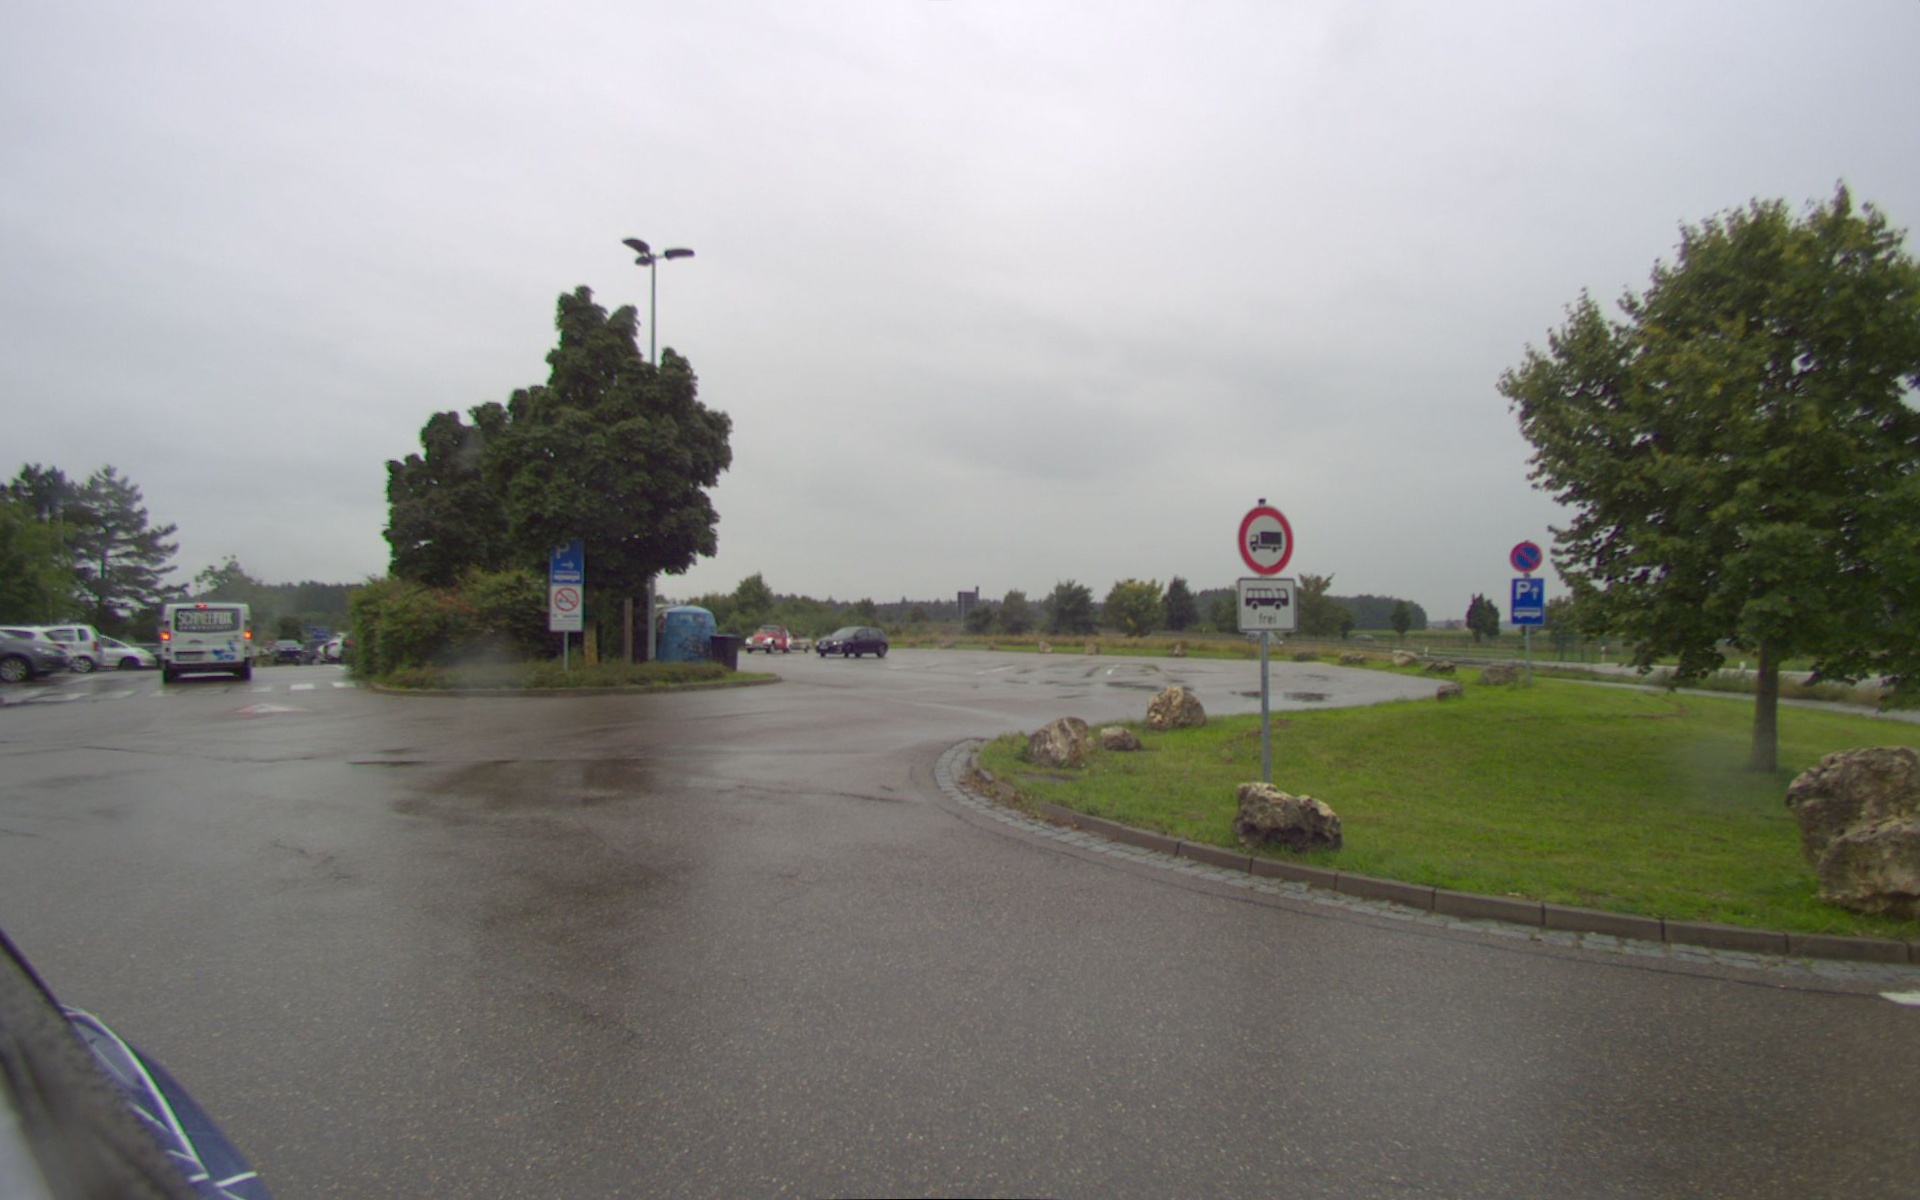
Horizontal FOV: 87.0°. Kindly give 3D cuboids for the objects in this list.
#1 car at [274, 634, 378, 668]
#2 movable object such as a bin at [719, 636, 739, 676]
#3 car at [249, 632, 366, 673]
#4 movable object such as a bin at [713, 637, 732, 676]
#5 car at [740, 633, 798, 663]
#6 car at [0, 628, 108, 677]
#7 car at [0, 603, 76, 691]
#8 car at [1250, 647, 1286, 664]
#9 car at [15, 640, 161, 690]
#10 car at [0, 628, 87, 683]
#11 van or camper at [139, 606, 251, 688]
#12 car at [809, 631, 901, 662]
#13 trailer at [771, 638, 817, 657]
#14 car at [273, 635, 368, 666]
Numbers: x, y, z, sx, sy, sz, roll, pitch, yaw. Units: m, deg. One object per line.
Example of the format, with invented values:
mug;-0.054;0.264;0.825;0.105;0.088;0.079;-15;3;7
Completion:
car;-29.727;2.355;47.527;4.025;1.508;1.771;1;-2;-33
movable object such as a bin;-5.582;1.357;24.423;0.442;0.946;0.490;1;-2;-13
car;-27.391;2.175;42.562;4.025;1.641;1.791;1;-2;-33
movable object such as a bin;-5.851;1.386;24.911;0.442;0.924;0.490;1;-2;-13
car;-10.351;2.592;55.158;1.535;1.567;4.038;0;-2;14
car;-32.145;1.754;34.345;4.688;1.599;2.005;1;-2;-33
car;-25.624;1.179;25.554;4.688;2.205;2.005;1;-2;-33
car;26.980;4.867;88.780;1.561;1.464;3.763;1;-2;-9
car;-38.967;2.869;45.420;4.688;2.097;2.005;1;-2;-33
car;-27.196;1.513;27.745;4.688;1.483;1.891;1;-2;-33
van or camper;-20.322;1.240;27.024;2.159;1.960;5.209;1;-3;-36
car;-5.080;2.271;49.048;4.008;1.444;1.785;2;-3;-29
trailer;-9.612;2.784;58.668;1.574;1.075;3.016;-1;-3;14
car;-32.589;2.530;51.627;4.025;1.508;1.771;1;-2;-33
